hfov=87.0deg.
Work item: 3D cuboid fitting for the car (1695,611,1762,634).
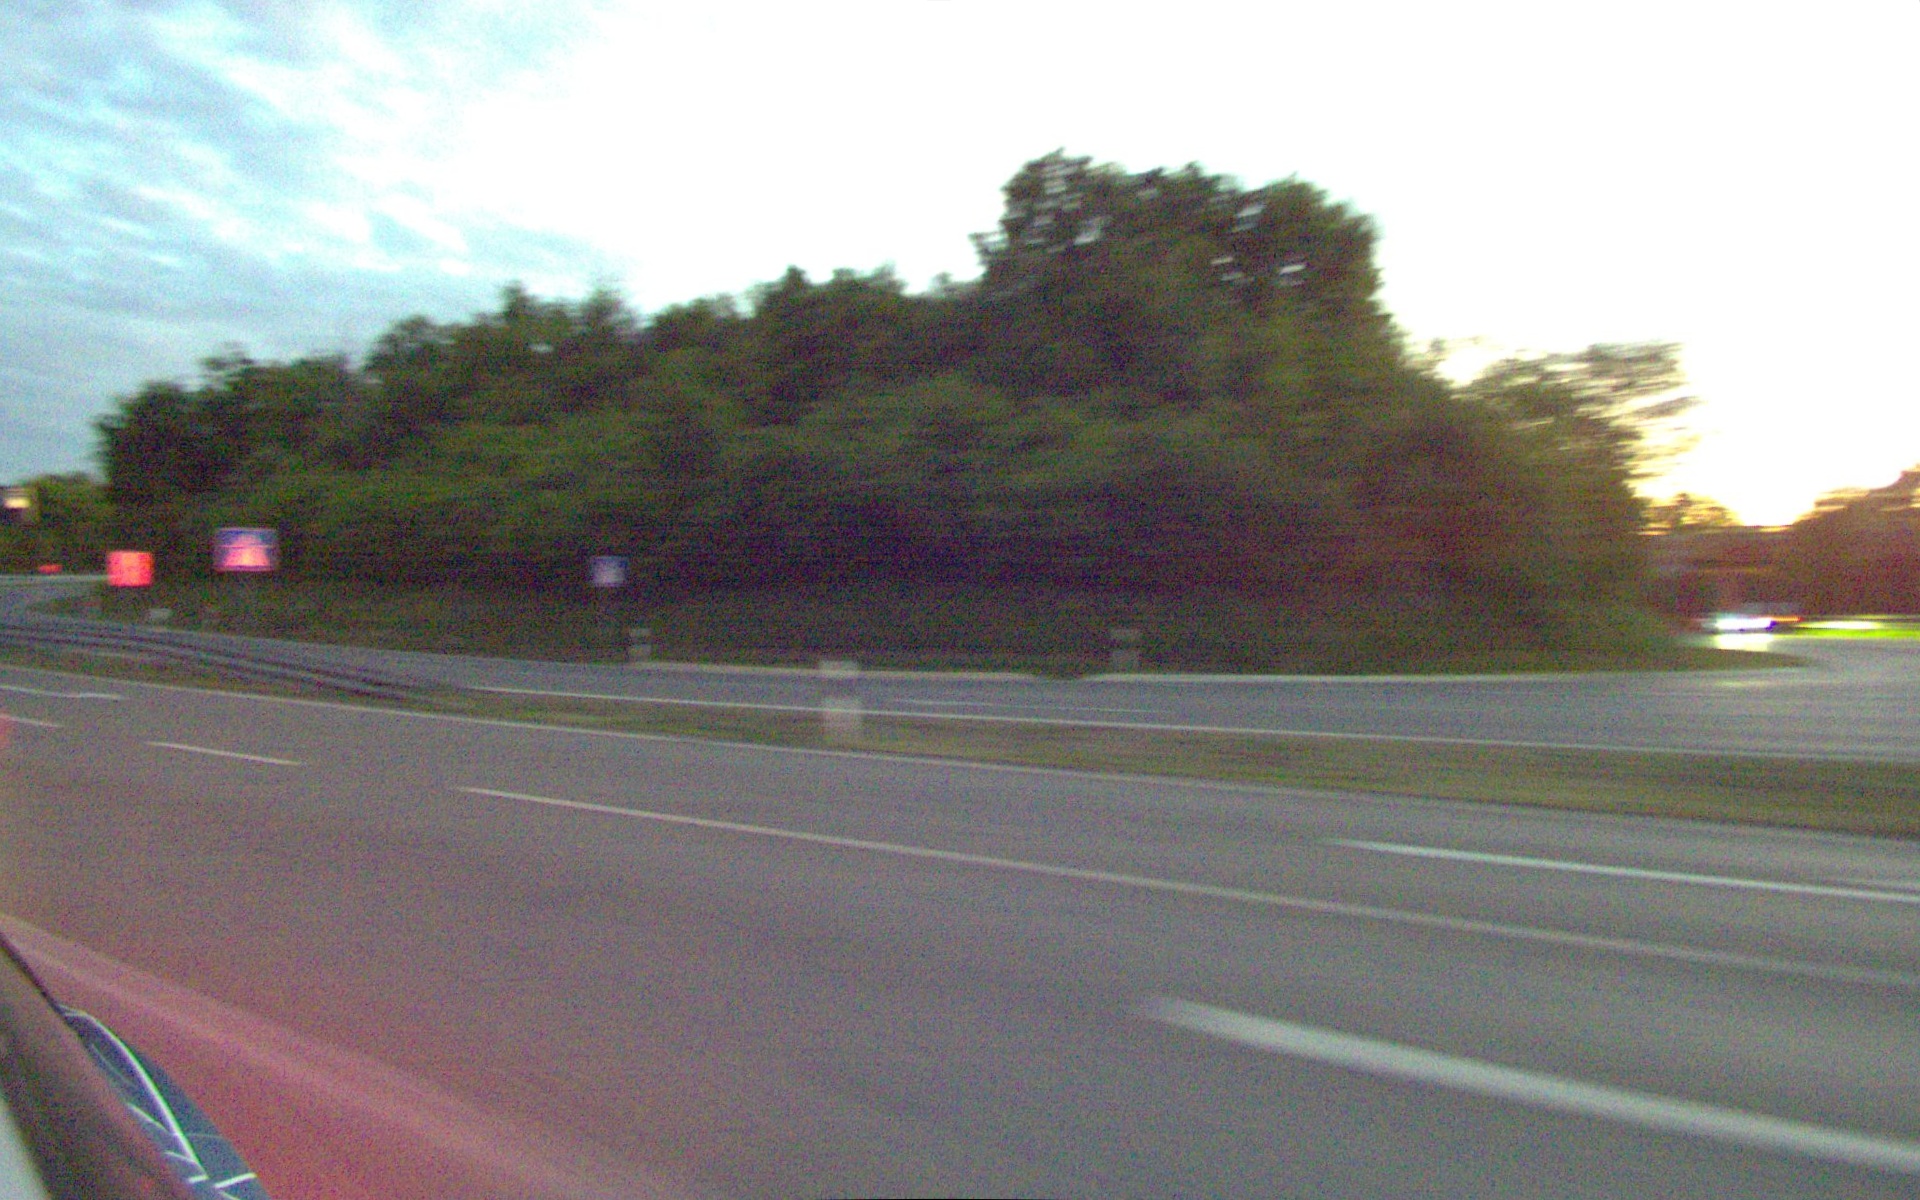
[{"bbox_3d":[50.458,1.473,66.583,1.983,1.464,4.707,-1,-1,18],"label":"car"}]
